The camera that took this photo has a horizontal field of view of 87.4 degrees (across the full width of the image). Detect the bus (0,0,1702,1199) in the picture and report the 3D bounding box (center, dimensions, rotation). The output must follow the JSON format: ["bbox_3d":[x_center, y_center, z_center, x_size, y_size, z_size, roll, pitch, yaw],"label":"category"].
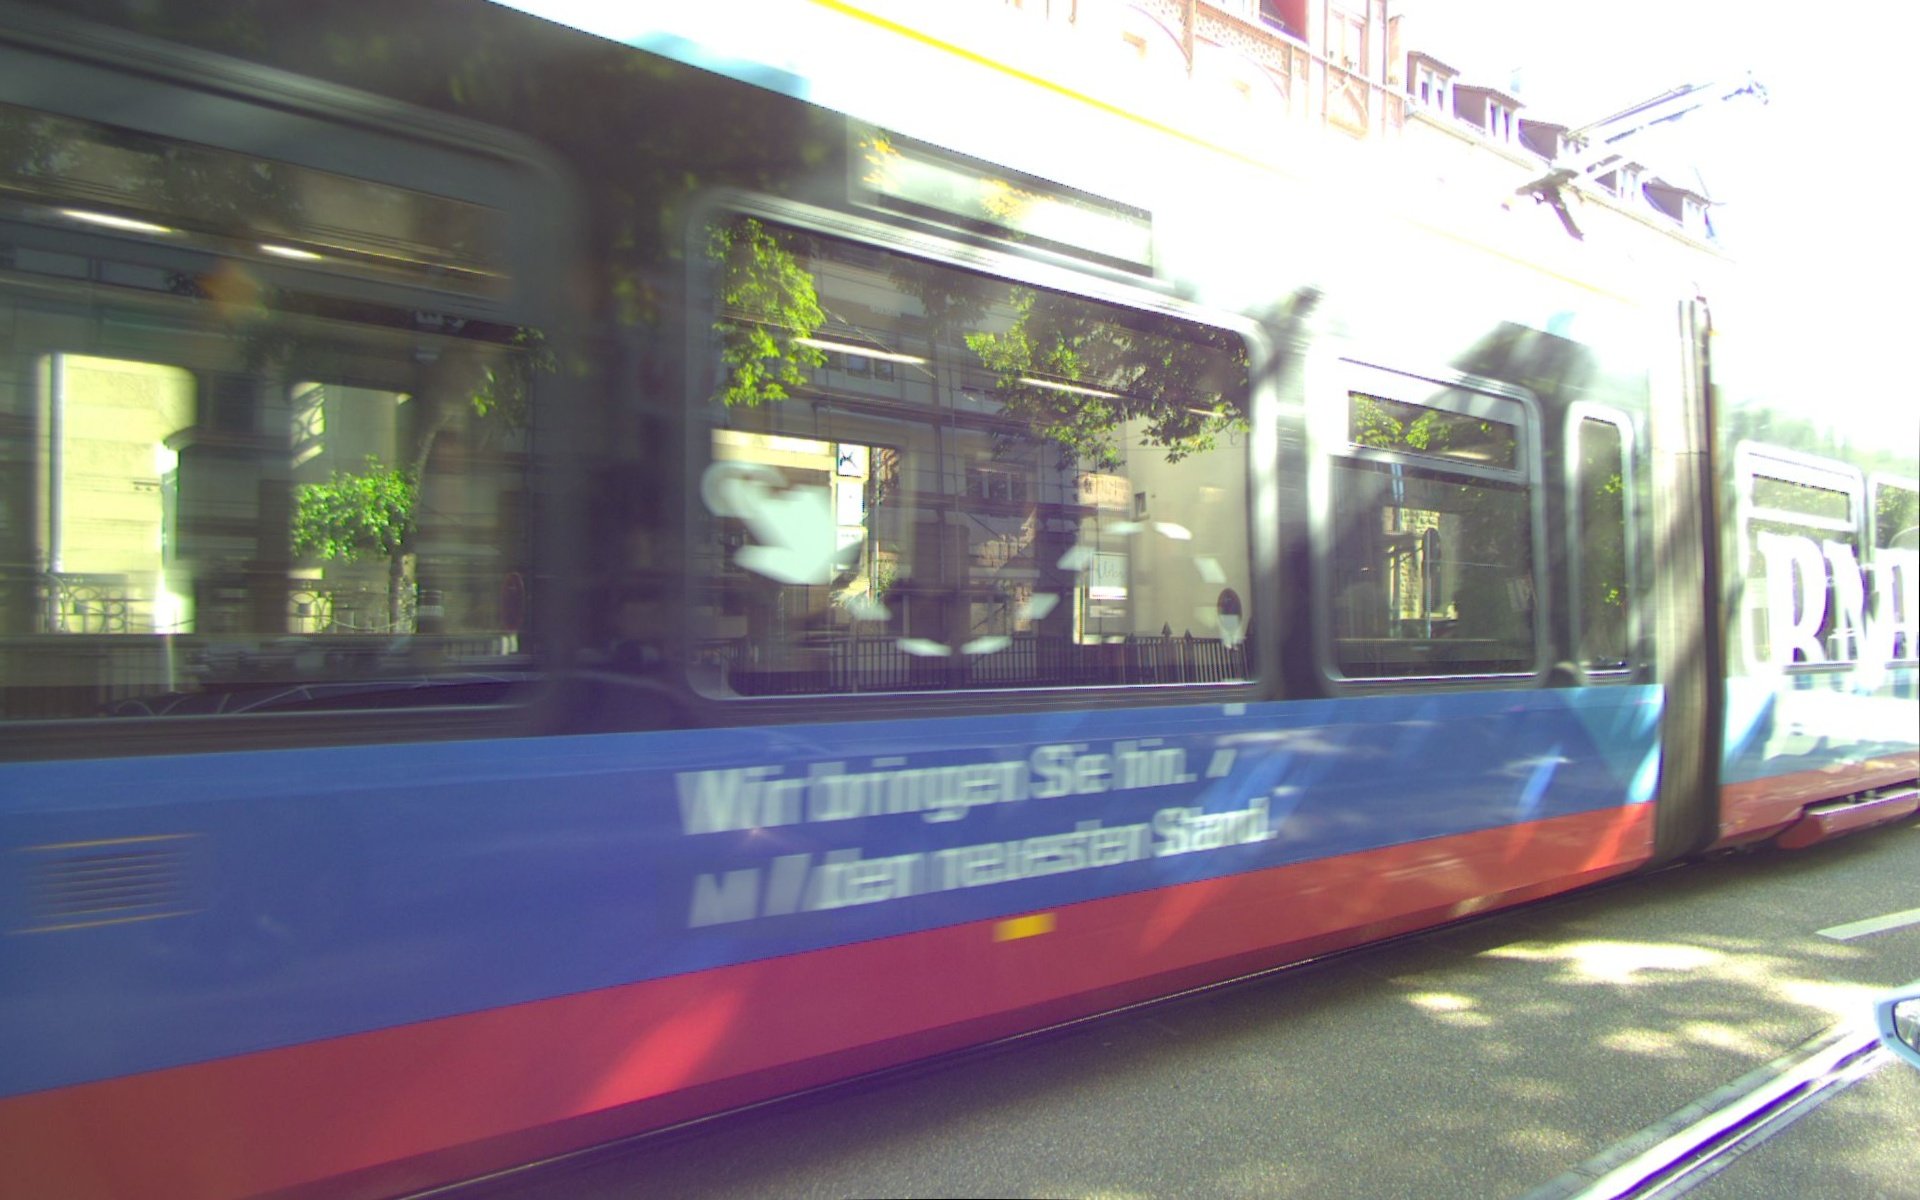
[{"bbox_3d":[-2.017,-0.549,2.938,11.374,3.827,2.843,2,0,-33],"label":"bus"}]

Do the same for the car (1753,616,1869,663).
[{"bbox_3d":[39.859,1.814,47.191,1.961,2.040,3.999,2,0,-1],"label":"car"}]

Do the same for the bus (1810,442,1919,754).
[{"bbox_3d":[17.030,0.160,15.276,12.066,3.827,2.833,2,0,-33],"label":"bus"}]

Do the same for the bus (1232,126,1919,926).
[{"bbox_3d":[7.405,-0.198,9.020,11.062,3.827,2.843,2,0,-33],"label":"bus"}]
